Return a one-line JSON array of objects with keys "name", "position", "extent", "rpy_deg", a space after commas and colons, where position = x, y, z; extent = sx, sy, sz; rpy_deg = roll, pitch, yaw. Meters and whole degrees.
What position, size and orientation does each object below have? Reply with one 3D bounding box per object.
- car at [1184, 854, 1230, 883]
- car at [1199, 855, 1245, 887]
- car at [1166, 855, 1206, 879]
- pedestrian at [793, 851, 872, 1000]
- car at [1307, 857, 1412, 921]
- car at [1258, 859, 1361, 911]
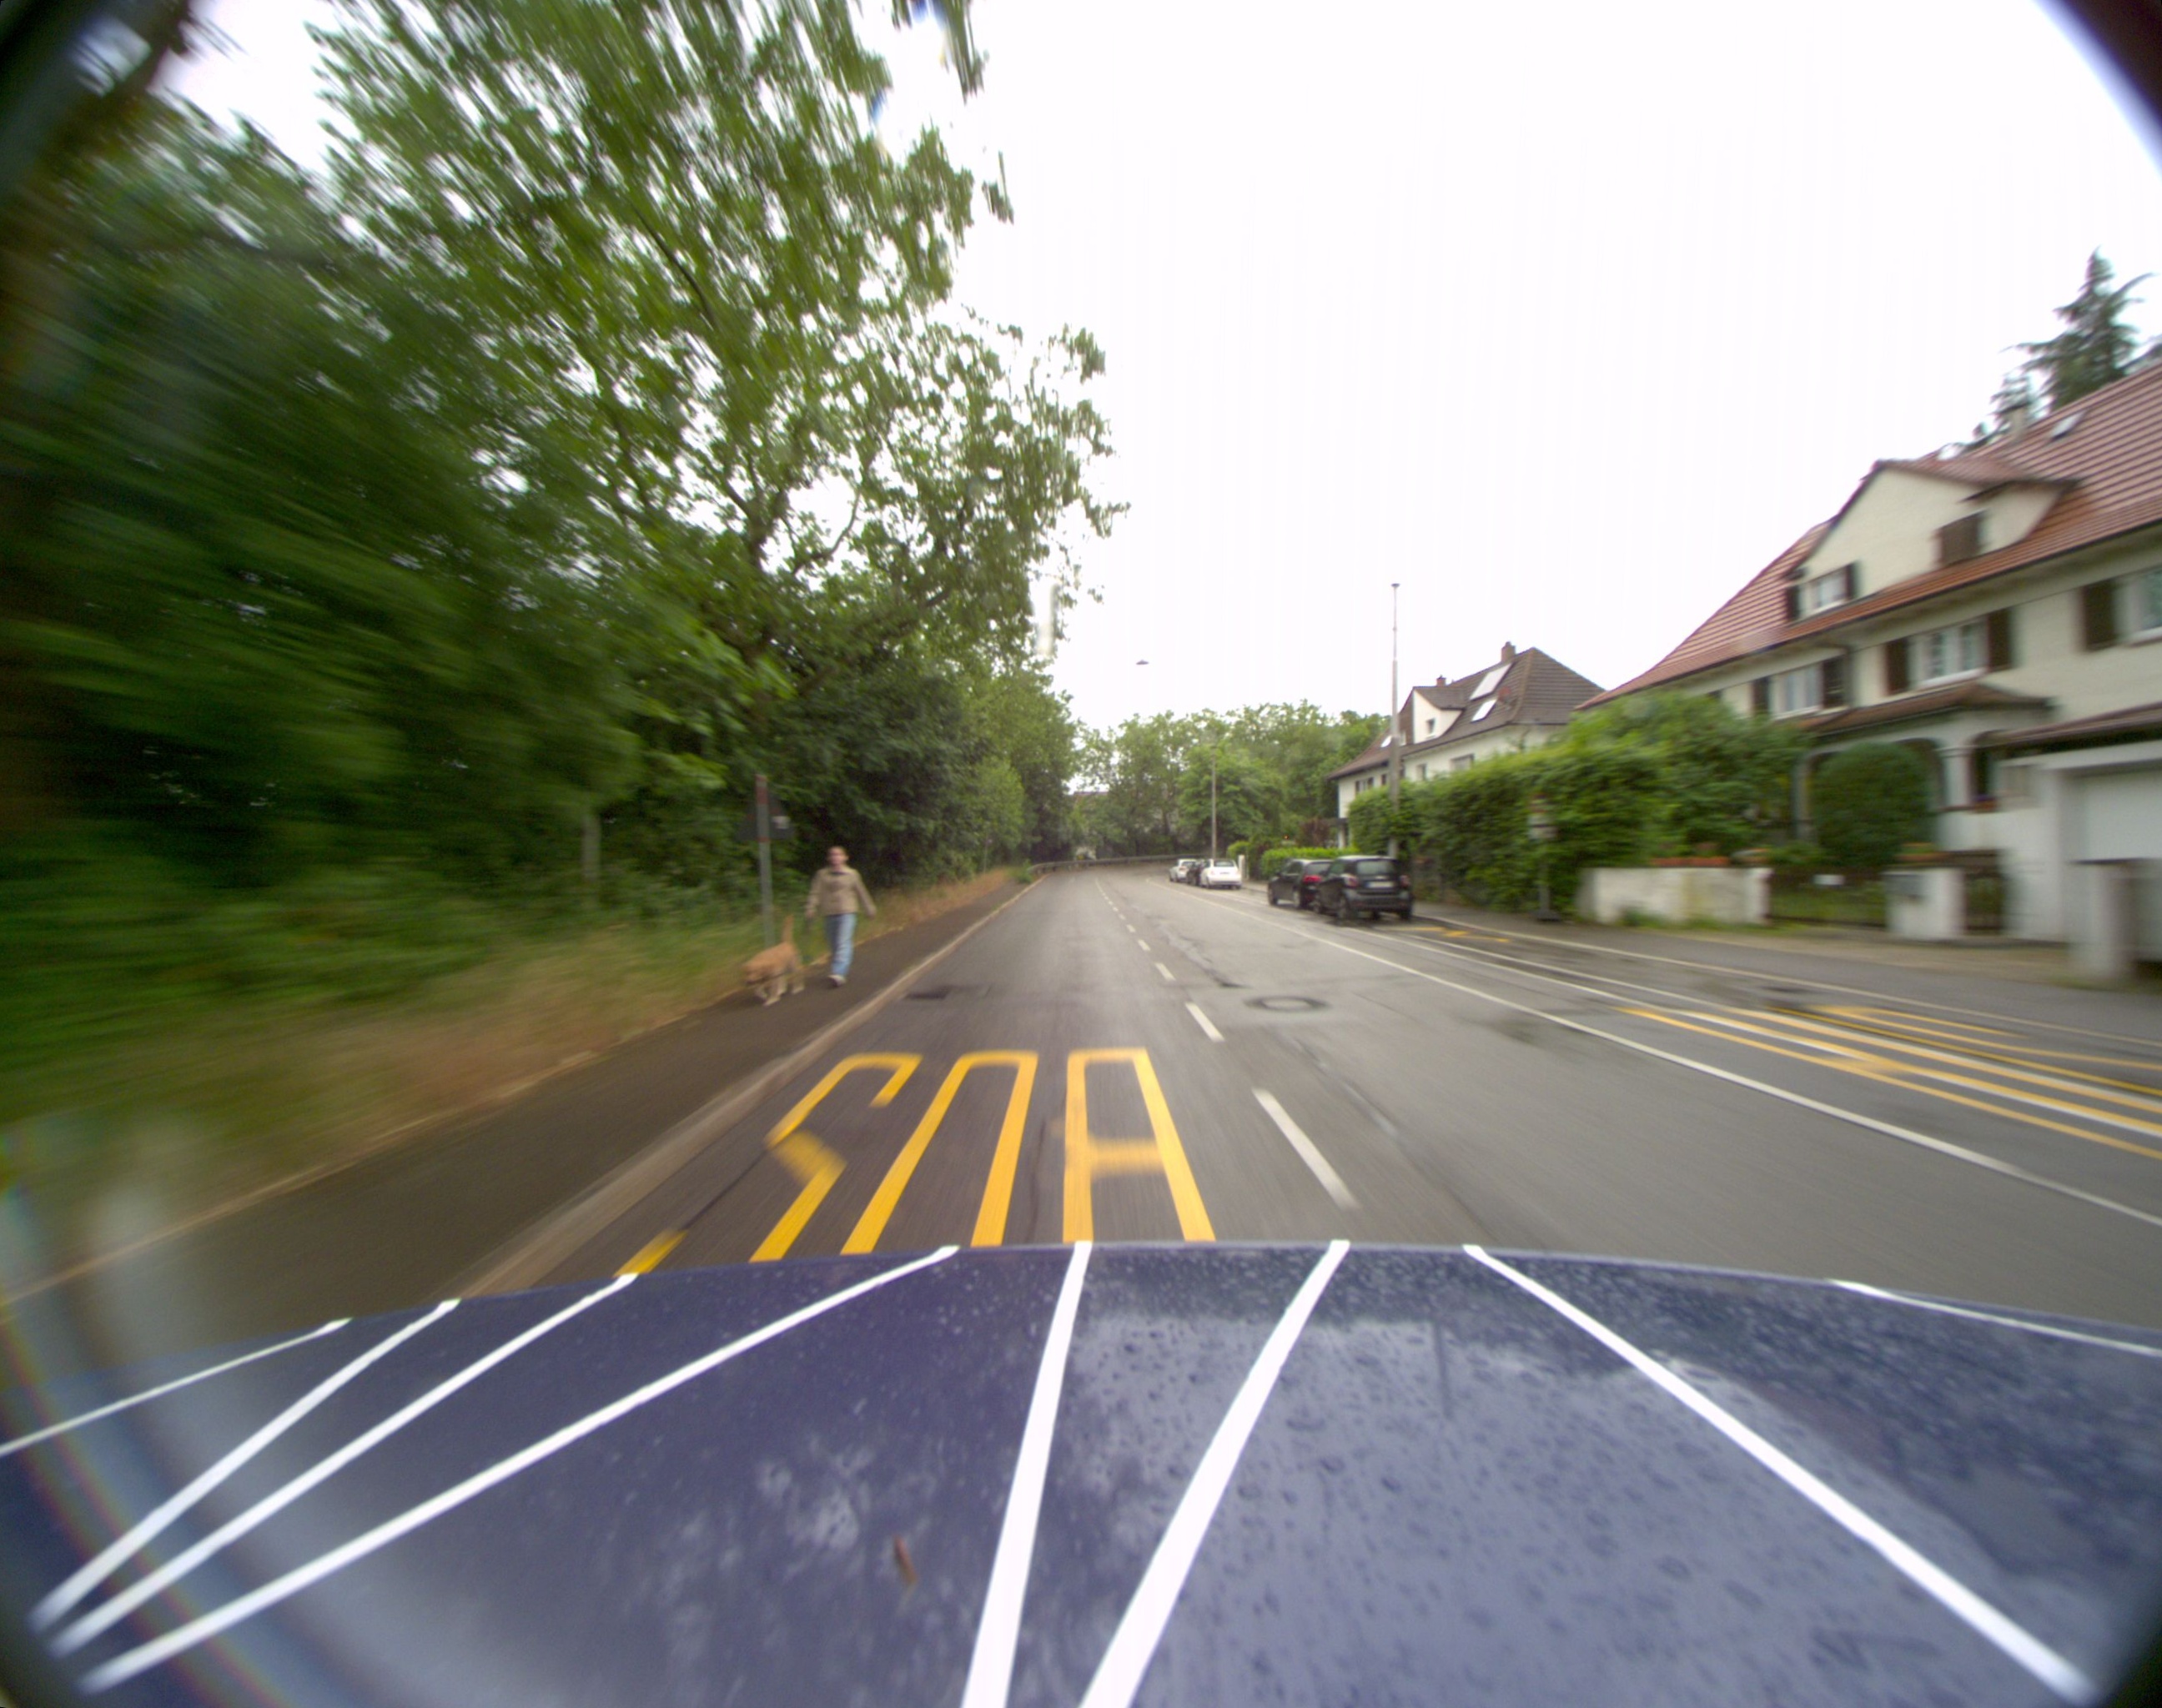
[{"name": "car", "position": [7.007, 0.766, 42.622], "extent": [1.702, 1.516, 4.422], "rpy_deg": [-1, 0, -1]}, {"name": "car", "position": [7.011, 0.824, 38.146], "extent": [1.702, 1.459, 3.711], "rpy_deg": [-1, 0, 1]}, {"name": "car", "position": [6.637, 0.840, 48.363], "extent": [1.737, 1.413, 4.283], "rpy_deg": [0, -2, -3]}, {"name": "pedestrian", "position": [-2.792, 0.775, 8.596], "extent": [0.643, 1.602, 0.669], "rpy_deg": [-1, 2, -1]}, {"name": "car", "position": [6.833, 0.810, 18.944], "extent": [1.523, 1.445, 3.030], "rpy_deg": [0, 0, 0]}, {"name": "car", "position": [6.818, 0.878, 23.127], "extent": [1.692, 1.410, 4.214], "rpy_deg": [0, 0, -3]}]
